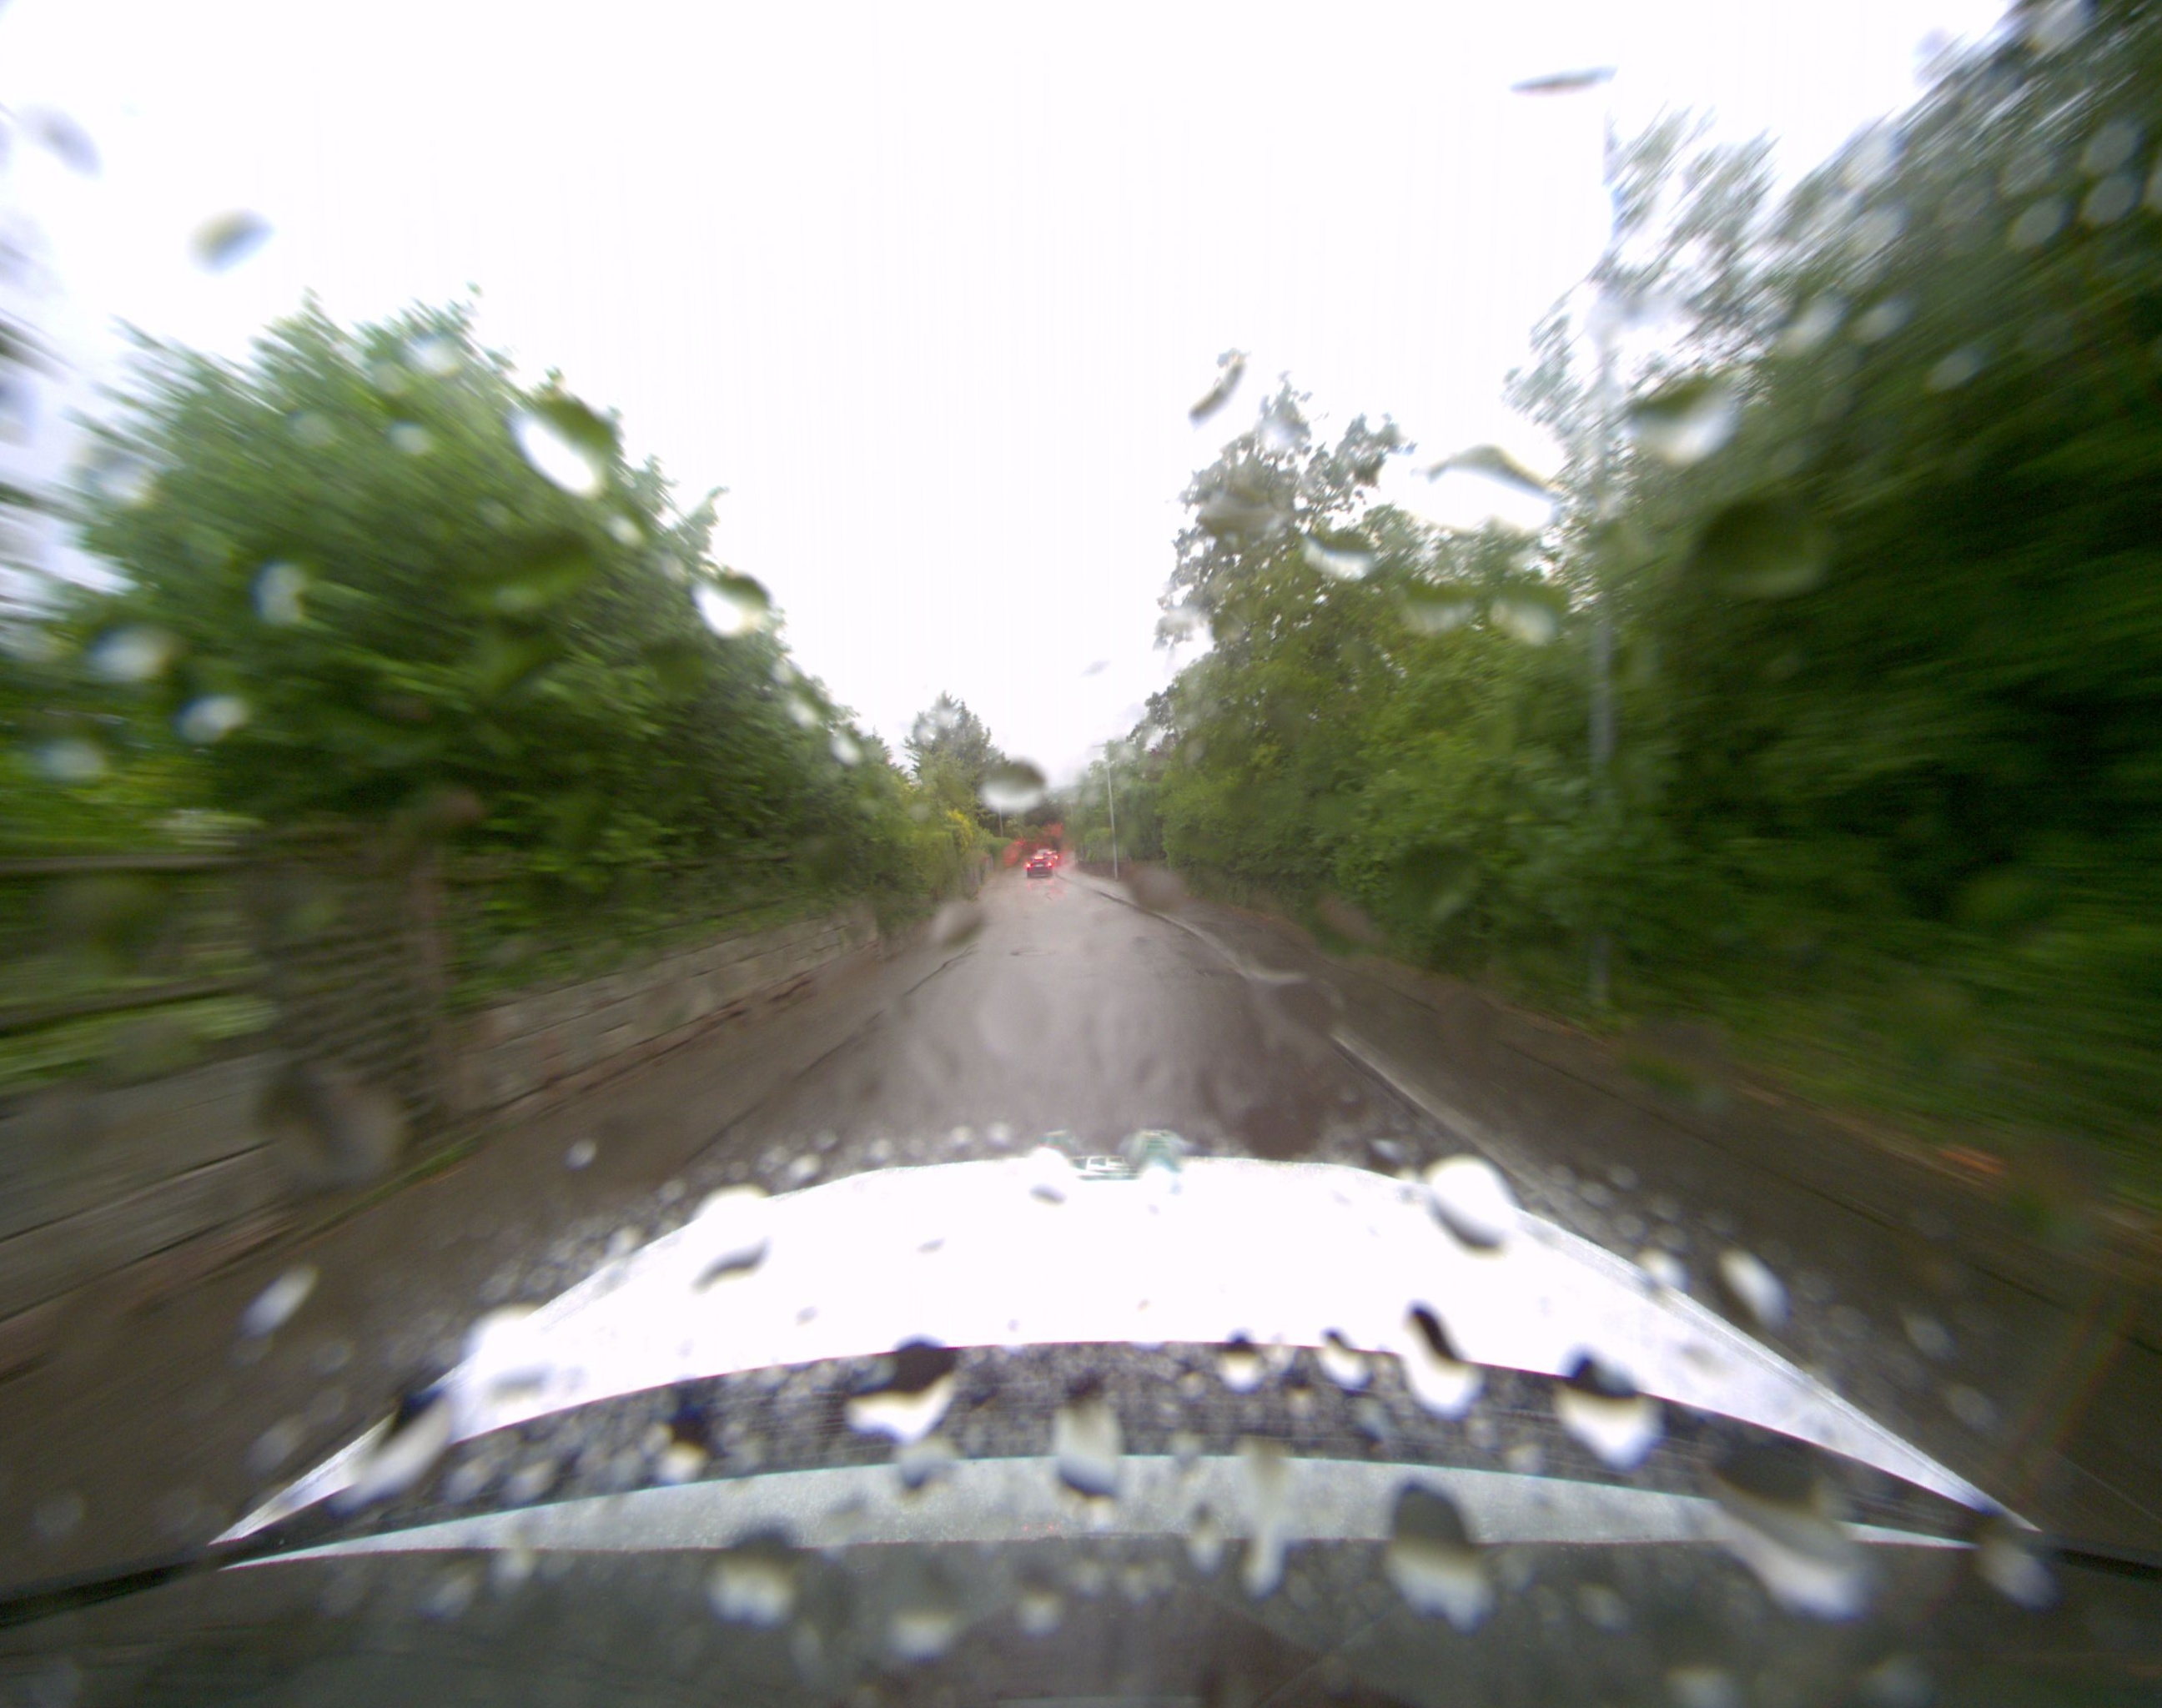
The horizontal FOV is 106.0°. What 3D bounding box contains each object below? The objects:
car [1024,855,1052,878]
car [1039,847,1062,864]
[{"bbox_3d":[-2.997,0.815,56.692,1.831,1.464,3.995,-3,0,-4],"label":"car"},{"bbox_3d":[-3.142,0.165,83.673,1.668,1.565,3.803,-2,2,8],"label":"car"}]
